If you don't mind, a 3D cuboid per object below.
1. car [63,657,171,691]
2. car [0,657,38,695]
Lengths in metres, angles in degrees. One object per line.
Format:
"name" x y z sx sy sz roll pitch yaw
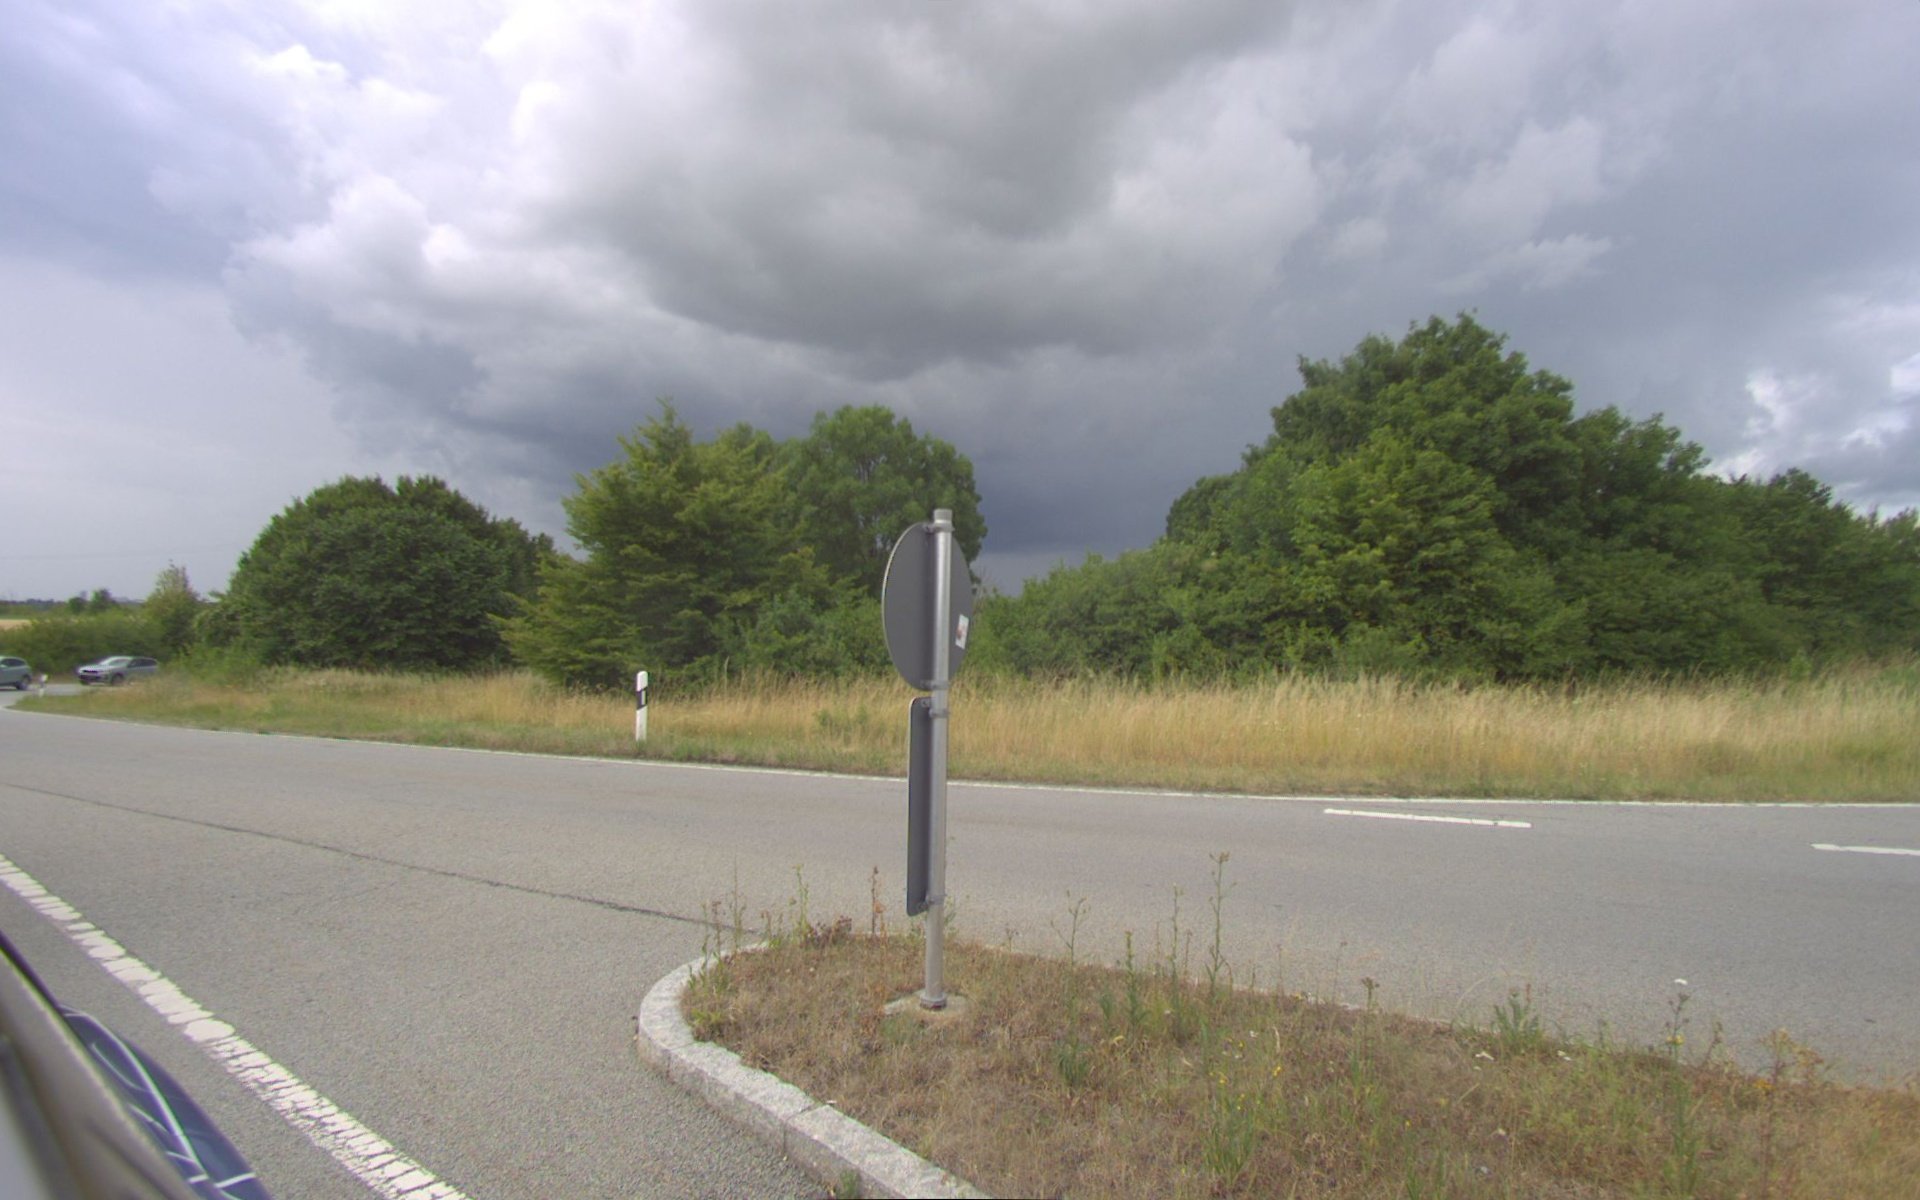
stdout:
"car" -48.581 4.222 58.479 1.971 1.732 5.211 3 -3 -3
"car" -46.318 3.569 47.953 1.965 1.733 5.224 4 -5 -20
